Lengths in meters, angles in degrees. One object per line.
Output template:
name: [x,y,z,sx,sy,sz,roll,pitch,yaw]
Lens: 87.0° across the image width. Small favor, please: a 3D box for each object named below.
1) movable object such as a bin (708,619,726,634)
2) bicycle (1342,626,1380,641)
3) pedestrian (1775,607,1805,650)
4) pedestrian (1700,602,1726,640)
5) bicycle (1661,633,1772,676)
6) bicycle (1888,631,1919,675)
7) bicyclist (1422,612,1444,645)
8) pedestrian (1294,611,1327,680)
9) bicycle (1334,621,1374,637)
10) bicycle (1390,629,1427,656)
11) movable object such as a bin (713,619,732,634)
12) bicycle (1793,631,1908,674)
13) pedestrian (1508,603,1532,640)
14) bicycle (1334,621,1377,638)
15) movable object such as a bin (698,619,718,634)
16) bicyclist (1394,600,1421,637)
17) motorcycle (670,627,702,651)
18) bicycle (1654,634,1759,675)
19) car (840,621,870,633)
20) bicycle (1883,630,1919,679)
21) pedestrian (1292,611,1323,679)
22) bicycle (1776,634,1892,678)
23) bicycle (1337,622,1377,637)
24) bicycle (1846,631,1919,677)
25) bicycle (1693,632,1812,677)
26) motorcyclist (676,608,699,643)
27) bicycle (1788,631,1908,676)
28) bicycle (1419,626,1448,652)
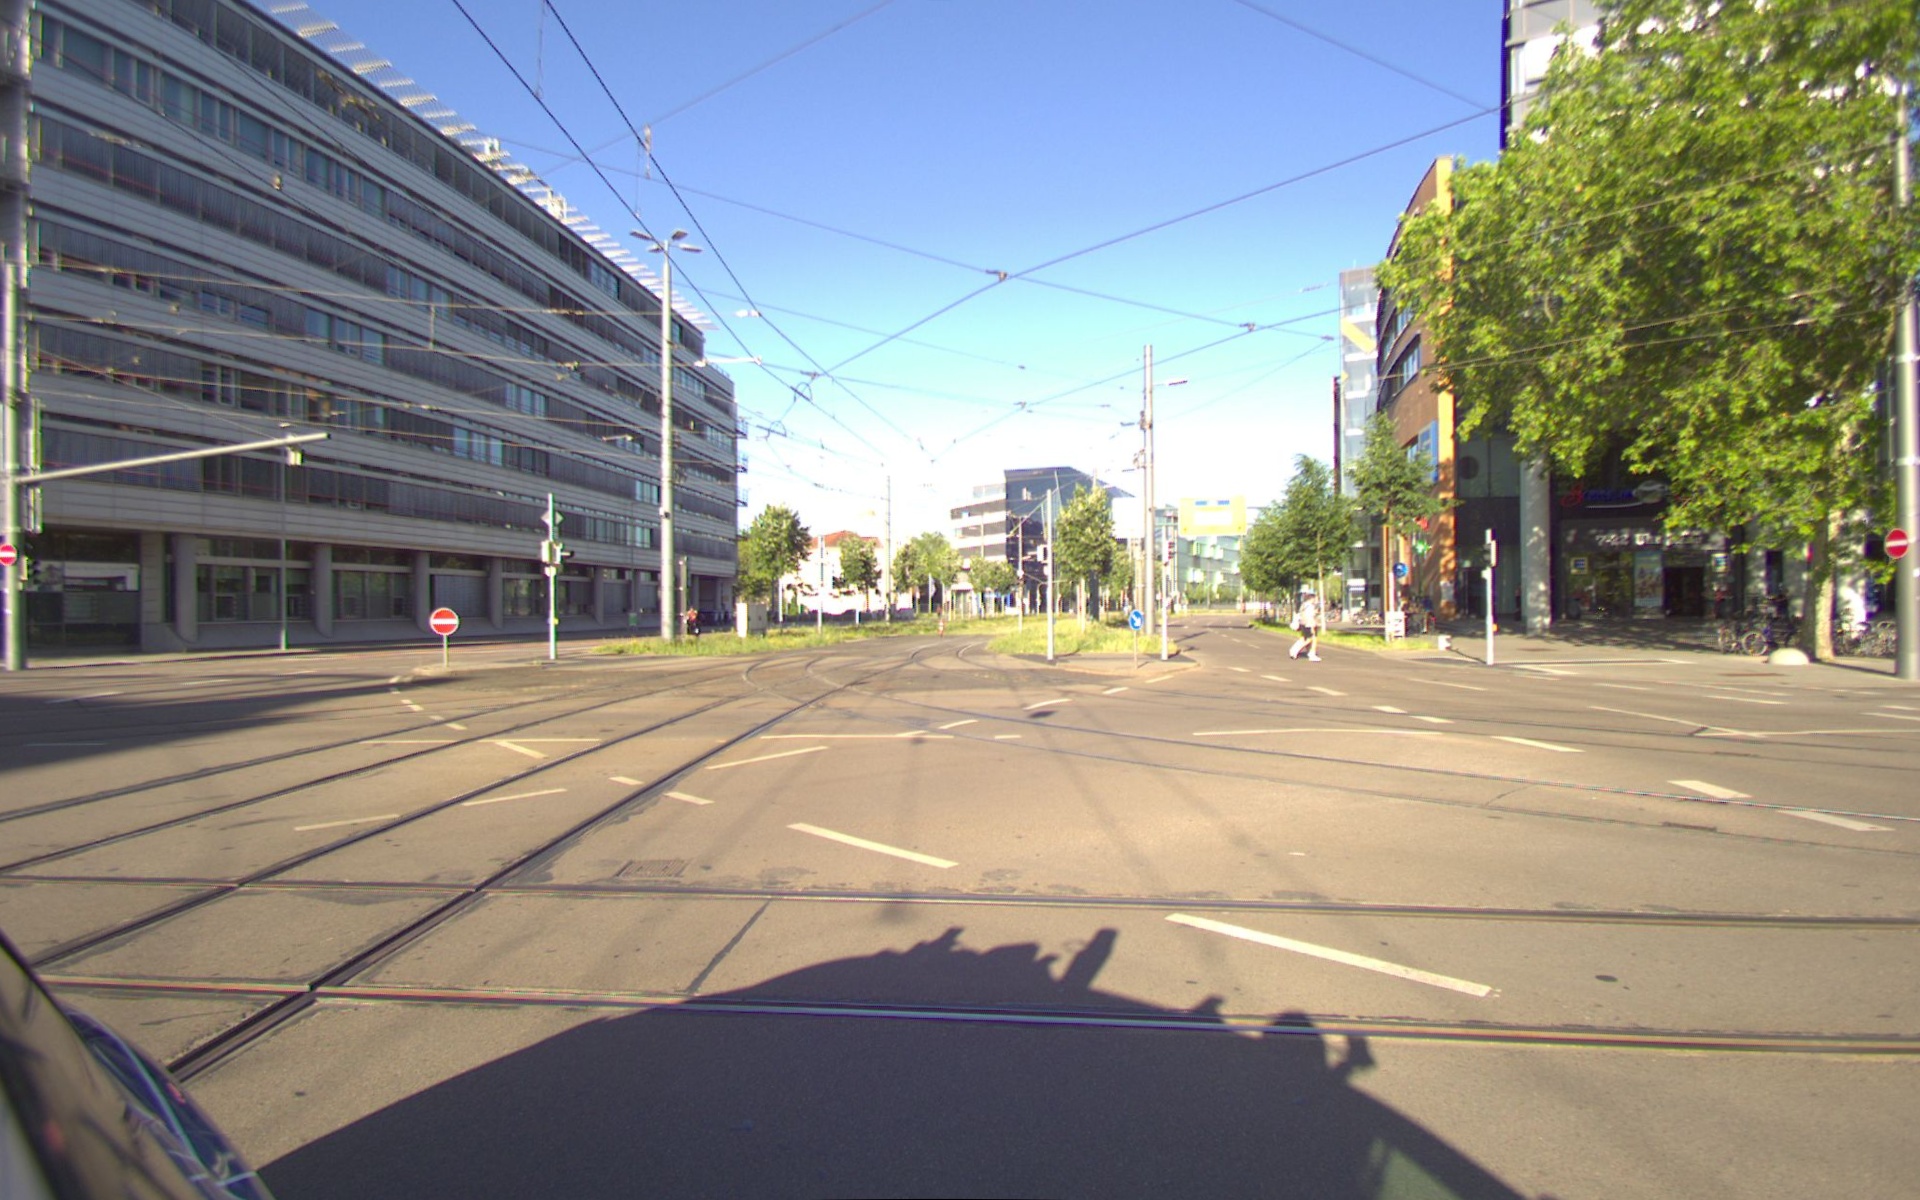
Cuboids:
movable object such as a bin: [-21.258,2.288,88.583,1.162,1.311,1.324,-1,-1,12]
bicycle: [30.323,2.549,76.600,2.673,1.112,0.889,-1,-2,22]
pedestrian: [33.040,1.122,40.283,0.687,1.665,0.708,0,-1,-31]
pedestrian: [32.727,0.904,43.990,0.692,1.665,0.702,-1,-1,15]
bicycle: [20.556,1.471,27.542,2.342,1.137,0.597,0,-2,12]
bicycle: [25.651,1.379,26.239,2.341,1.137,0.597,0,-2,11]
bicyclist: [20.944,1.264,44.798,0.686,1.472,0.751,0,-1,11]
pedestrian: [9.639,1.234,27.840,0.725,1.884,0.671,0,-1,9]
bicycle: [28.806,2.116,74.052,2.673,1.112,0.889,-1,-2,22]
bicycle: [18.960,1.784,42.844,0.886,1.112,2.681,0,-2,12]
movable object such as a bin: [-21.049,2.323,89.730,1.162,1.311,1.324,-1,-1,12]
bicycle: [24.237,1.426,27.592,2.341,1.137,0.597,0,-2,11]
pedestrian: [26.408,1.001,47.742,0.687,1.718,0.736,0,-1,-28]
bicycle: [26.732,1.991,68.459,2.673,1.112,0.889,-1,-2,22]
movable object such as a bin: [-21.220,2.232,85.212,1.315,1.311,1.170,-1,-1,11]
bicyclist: [18.953,0.801,42.873,0.887,1.560,0.935,0,-2,13]
motorcycle: [-14.558,2.046,53.914,0.812,1.230,2.250,0,-1,8]
bicycle: [21.320,1.550,28.940,2.342,1.137,0.597,0,-2,12]
car: [-12.913,3.306,124.538,1.713,1.543,3.806,1,-1,-42]
bicycle: [23.442,1.291,23.968,2.341,1.137,0.597,0,-2,11]
pedestrian: [9.852,1.262,28.713,0.726,1.884,0.697,0,-1,10]
bicycle: [23.367,1.491,27.088,2.341,1.137,0.597,0,-2,11]
bicycle: [28.505,2.112,72.751,2.673,1.112,0.889,-1,-2,22]
bicycle: [23.590,1.332,25.147,2.341,1.137,0.597,0,-2,11]
bicycle: [20.386,1.386,26.073,2.342,1.137,0.597,0,-2,12]
motorcyclist: [-14.544,1.345,53.979,0.812,1.871,1.109,0,-1,8]
bicycle: [23.184,1.392,26.449,2.341,1.137,0.597,0,-2,11]
bicycle: [20.944,1.716,44.814,0.686,1.145,1.845,0,-1,10]
